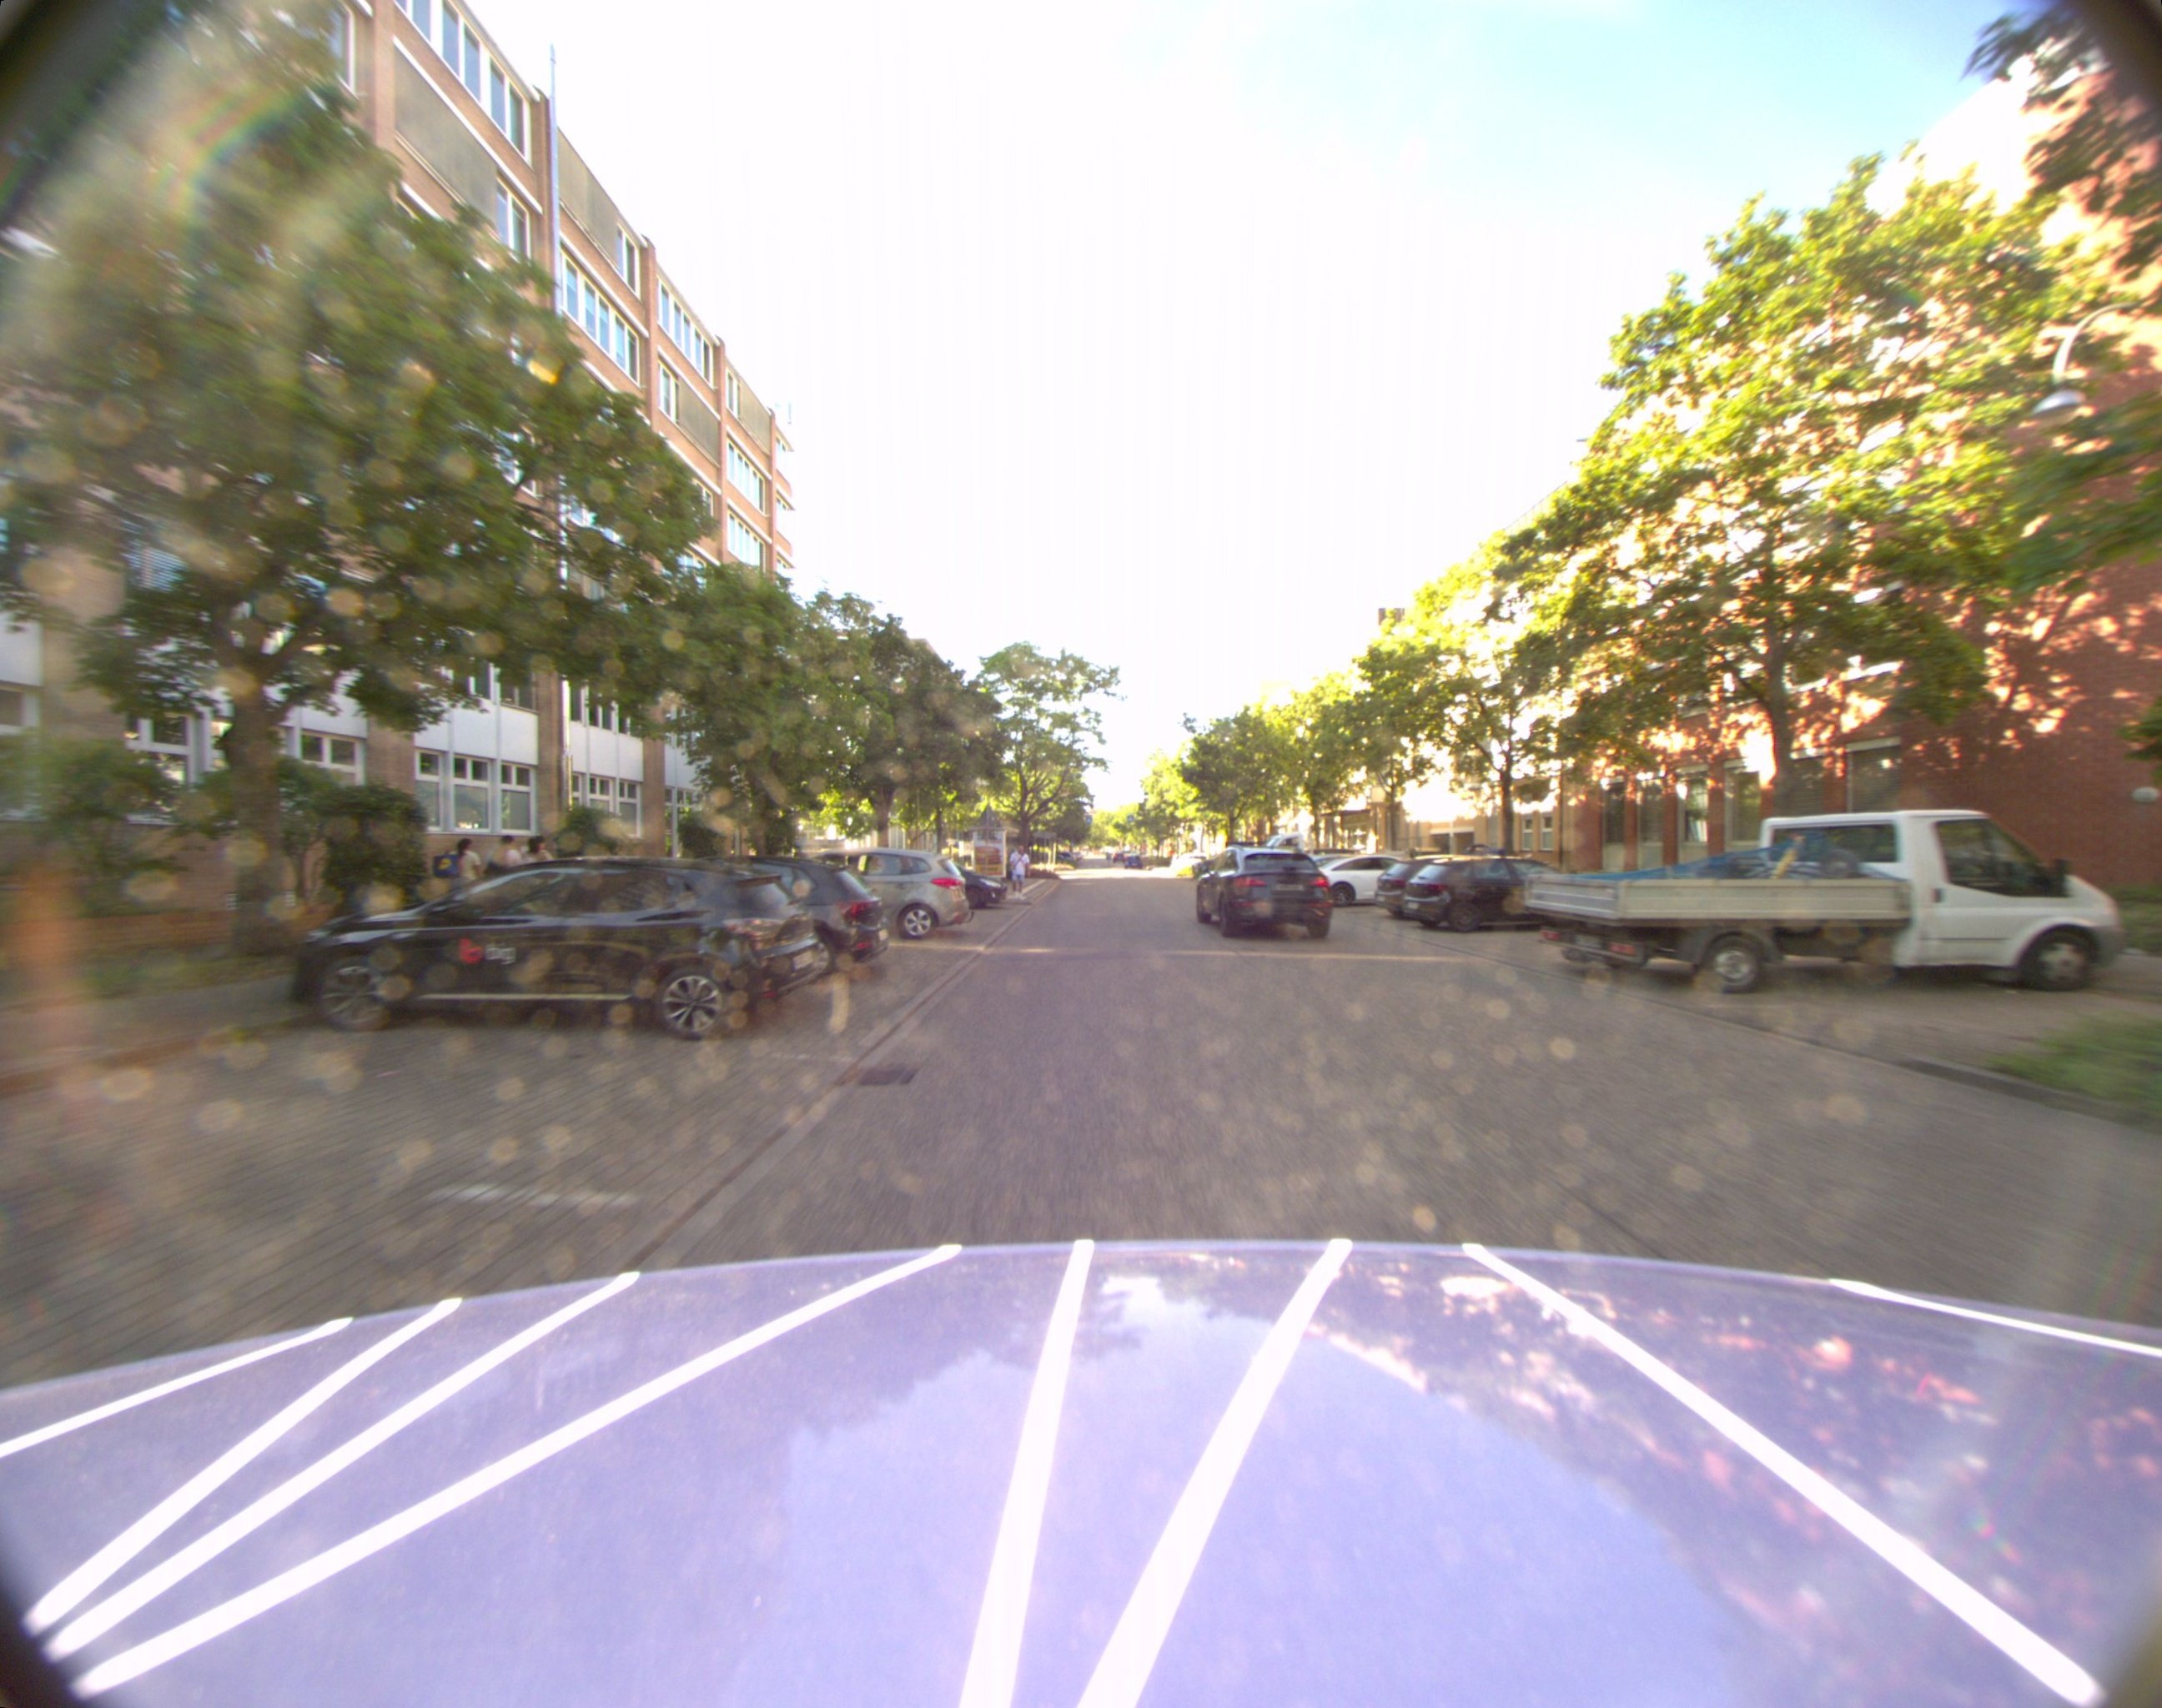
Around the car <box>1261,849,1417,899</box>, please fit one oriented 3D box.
[{"bbox_3d":[8.392,0.618,24.985,4.438,1.478,2.000,-1,1,-1],"label":"car"}]

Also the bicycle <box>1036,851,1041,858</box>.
[{"bbox_3d":[-5.921,0.049,106.867,0.535,1.072,1.920,0,0,2],"label":"bicycle"}]

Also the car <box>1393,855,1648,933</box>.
[{"bbox_3d":[8.543,0.759,15.061,3.995,1.427,1.790,-1,1,5],"label":"car"}]

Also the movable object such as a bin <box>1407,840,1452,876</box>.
[{"bbox_3d":[18.008,0.208,39.293,1.603,1.786,1.664,0,1,2],"label":"movable object such as a bin"}]

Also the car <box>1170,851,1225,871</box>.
[{"bbox_3d":[9.313,0.525,60.995,4.162,1.394,1.801,-2,1,0],"label":"car"}]

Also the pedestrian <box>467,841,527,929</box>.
[{"bbox_3d":[-10.231,0.533,13.327,0.604,1.512,0.594,0,1,-2],"label":"pedestrian"}]

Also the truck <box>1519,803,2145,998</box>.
[{"bbox_3d":[8.219,0.452,8.816,4.996,1.948,2.138,0,1,3],"label":"truck"}]

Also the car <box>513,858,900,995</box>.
[{"bbox_3d":[-4.311,0.823,9.254,3.811,1.400,1.701,2,0,-4],"label":"car"}]

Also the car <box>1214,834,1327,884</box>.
[{"bbox_3d":[8.390,0.201,33.872,4.493,2.040,1.999,-2,1,-1],"label":"car"}]

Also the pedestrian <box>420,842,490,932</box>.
[{"bbox_3d":[-10.953,0.562,13.312,0.758,1.543,0.559,0,1,-2],"label":"pedestrian"}]

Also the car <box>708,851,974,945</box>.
[{"bbox_3d":[-4.233,0.754,14.044,4.365,1.588,1.938,0,1,-5],"label":"car"}]

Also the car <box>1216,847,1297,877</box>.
[{"bbox_3d":[9.052,0.399,39.325,3.843,1.452,1.733,-2,1,4],"label":"car"}]

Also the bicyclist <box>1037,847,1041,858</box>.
[{"bbox_3d":[-5.917,-0.214,106.853,0.538,1.627,0.822,0,1,2],"label":"bicyclist"}]

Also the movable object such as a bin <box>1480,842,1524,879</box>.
[{"bbox_3d":[18.251,0.282,32.976,1.149,1.554,1.243,0,1,-11],"label":"movable object such as a bin"}]

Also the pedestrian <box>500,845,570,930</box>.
[{"bbox_3d":[-9.542,0.576,13.296,0.702,1.449,0.715,0,1,-2],"label":"pedestrian"}]

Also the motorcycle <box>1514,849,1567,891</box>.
[{"bbox_3d":[17.630,0.588,29.191,0.716,1.582,2.109,0,1,-1],"label":"motorcycle"}]

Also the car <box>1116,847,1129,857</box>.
[{"bbox_3d":[6.259,-0.288,114.181,1.784,1.503,4.000,0,1,1],"label":"car"}]

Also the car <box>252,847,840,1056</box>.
[{"bbox_3d":[-4.384,0.763,6.754,3.857,1.475,1.824,2,0,-2],"label":"car"}]

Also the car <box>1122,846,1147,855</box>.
[{"bbox_3d":[11.329,-0.784,160.809,5.317,1.876,2.000,0,1,2],"label":"car"}]

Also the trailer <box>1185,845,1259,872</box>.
[{"bbox_3d":[8.991,0.256,48.596,4.272,1.563,1.855,-2,1,-3],"label":"trailer"}]

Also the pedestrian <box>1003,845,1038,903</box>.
[{"bbox_3d":[-1.868,0.609,23.381,0.921,1.701,0.697,3,0,-12],"label":"pedestrian"}]

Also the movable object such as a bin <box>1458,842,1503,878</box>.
[{"bbox_3d":[18.010,0.262,34.269,1.149,1.610,1.440,0,1,-11],"label":"movable object such as a bin"}]

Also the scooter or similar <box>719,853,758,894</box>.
[{"bbox_3d":[-11.513,0.626,25.585,0.550,1.318,1.805,-2,1,-4],"label":"scooter or similar"}]

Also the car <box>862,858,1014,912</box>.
[{"bbox_3d":[-3.918,0.841,21.323,3.945,1.431,1.774,0,1,-1],"label":"car"}]

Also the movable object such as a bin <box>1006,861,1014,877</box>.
[{"bbox_3d":[-3.362,0.696,36.006,0.299,0.749,0.467,2,1,1],"label":"movable object such as a bin"}]

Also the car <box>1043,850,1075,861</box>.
[{"bbox_3d":[-2.887,0.182,100.327,4.127,1.363,1.654,2,1,-3],"label":"car"}]

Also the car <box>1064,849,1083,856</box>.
[{"bbox_3d":[-1.676,-0.397,162.214,3.998,1.471,1.804,0,1,-2],"label":"car"}]

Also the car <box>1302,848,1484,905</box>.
[{"bbox_3d":[9.064,0.643,22.345,4.553,1.433,1.890,-2,0,-1],"label":"car"}]

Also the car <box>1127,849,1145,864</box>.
[{"bbox_3d":[5.539,0.223,76.760,1.648,1.412,4.000,0,0,1],"label":"car"}]

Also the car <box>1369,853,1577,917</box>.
[{"bbox_3d":[9.097,0.691,17.866,3.997,1.426,1.722,0,1,1],"label":"car"}]

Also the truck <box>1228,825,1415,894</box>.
[{"bbox_3d":[8.812,0.189,28.312,6.247,2.408,2.187,0,1,1],"label":"truck"}]

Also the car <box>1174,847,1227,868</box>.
[{"bbox_3d":[9.107,0.240,58.052,3.764,1.444,1.754,-2,1,0],"label":"car"}]

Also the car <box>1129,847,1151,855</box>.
[{"bbox_3d":[10.753,-0.597,138.393,4.003,1.411,1.618,-1,1,0],"label":"car"}]

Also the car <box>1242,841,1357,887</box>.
[{"bbox_3d":[8.851,0.382,31.050,4.117,1.652,2.000,-2,1,0],"label":"car"}]

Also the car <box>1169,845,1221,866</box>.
[{"bbox_3d":[9.483,0.138,63.488,3.997,1.561,1.728,-3,1,0],"label":"car"}]

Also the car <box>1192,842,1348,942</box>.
[{"bbox_3d":[3.475,0.628,14.882,1.897,1.674,4.352,0,0,-1],"label":"car"}]
